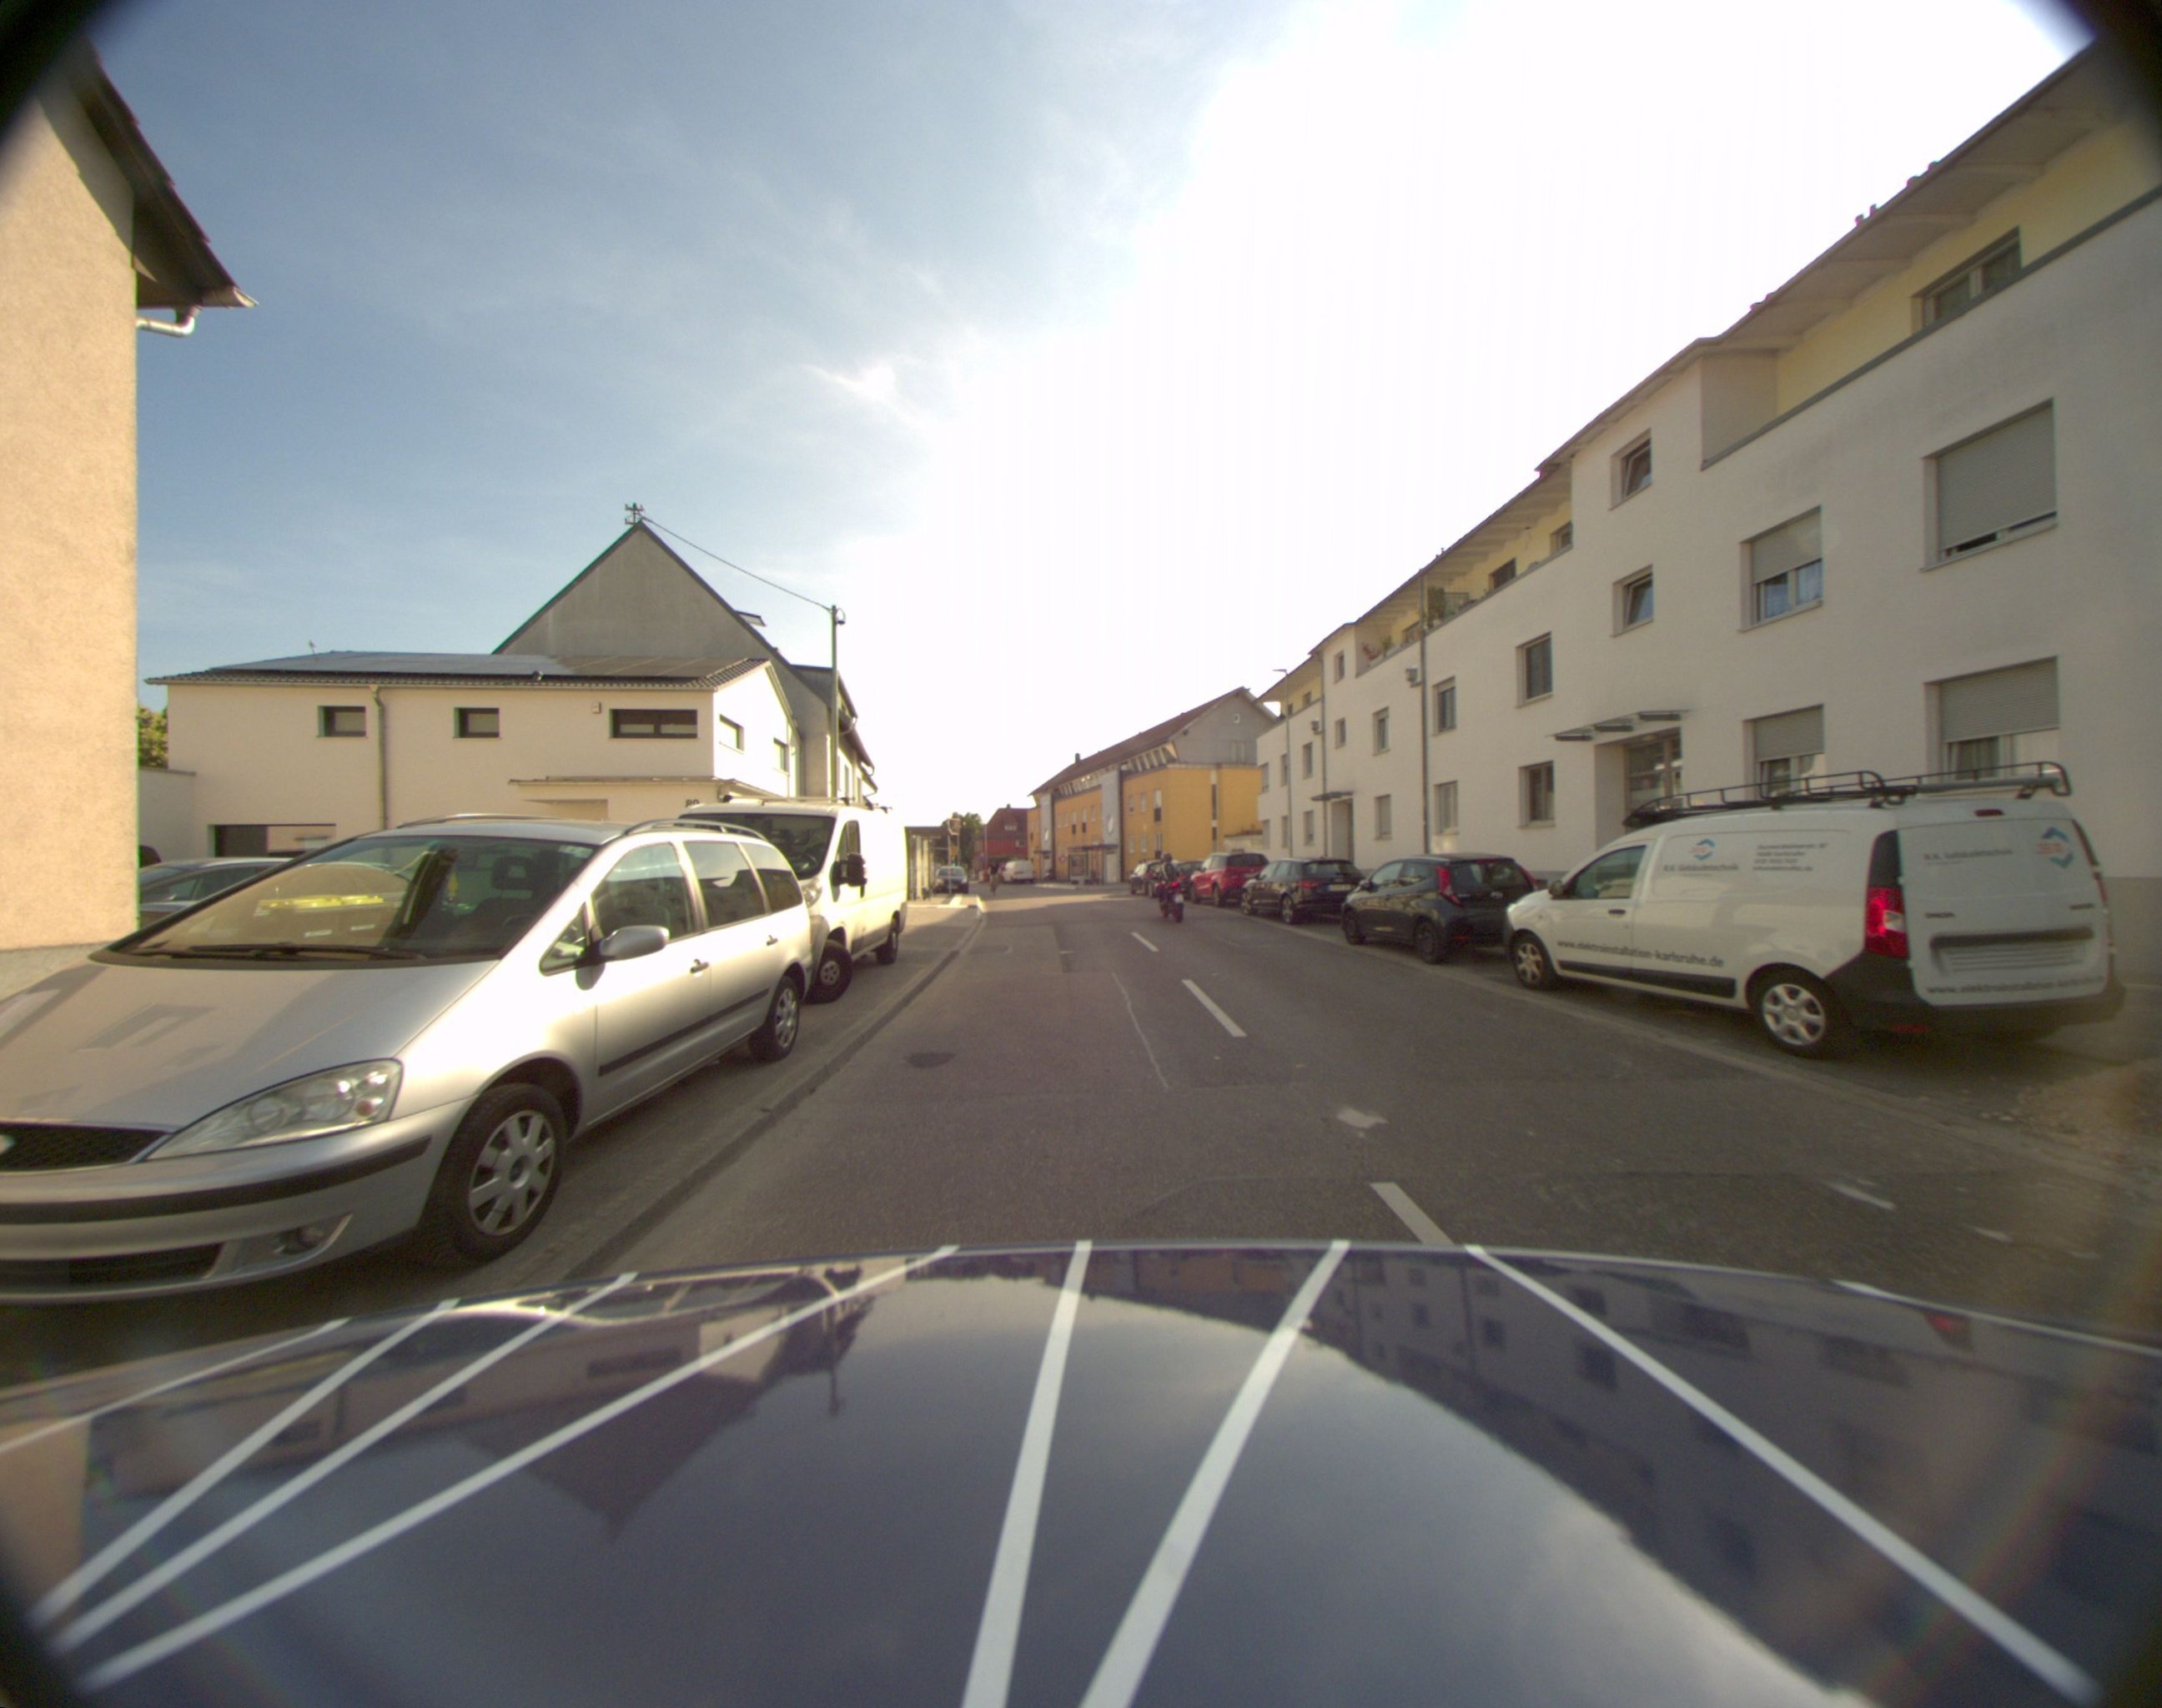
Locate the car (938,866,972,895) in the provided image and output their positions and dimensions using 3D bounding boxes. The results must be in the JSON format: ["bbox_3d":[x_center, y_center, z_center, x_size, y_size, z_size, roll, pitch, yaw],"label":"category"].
[{"bbox_3d":[-6.611,1.357,39.656,1.613,1.412,3.916,0,0,-11],"label":"car"}]

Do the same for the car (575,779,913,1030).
[{"bbox_3d":[-3.671,0.496,9.553,2.180,2.313,4.997,0,-1,-2],"label":"car"}]

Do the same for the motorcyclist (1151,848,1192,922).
[{"bbox_3d":[2.082,0.692,17.542,0.771,1.642,0.843,-2,0,-2],"label":"motorcyclist"}]

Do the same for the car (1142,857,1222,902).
[{"bbox_3d":[3.665,0.911,28.452,1.733,1.469,4.499,-3,0,-8],"label":"car"}]

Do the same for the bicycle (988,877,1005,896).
[{"bbox_3d":[-4.149,1.562,37.067,0.681,0.849,2.025,-2,0,-10],"label":"bicycle"}]

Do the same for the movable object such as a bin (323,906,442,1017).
[{"bbox_3d":[-7.411,1.120,8.086,0.730,1.087,0.553,-1,0,-2],"label":"movable object such as a bin"}]

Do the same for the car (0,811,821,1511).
[{"bbox_3d":[-3.029,0.767,4.106,1.782,1.731,4.483,0,0,-1],"label":"car"}]

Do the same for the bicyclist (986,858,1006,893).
[{"bbox_3d":[-4.163,1.032,37.139,0.846,1.679,0.877,-2,0,-10],"label":"bicyclist"}]

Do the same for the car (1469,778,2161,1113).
[{"bbox_3d":[5.631,0.563,6.801,1.732,1.949,4.437,-2,0,-5],"label":"car"}]

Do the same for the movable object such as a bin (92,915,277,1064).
[{"bbox_3d":[-7.300,1.077,6.218,0.730,1.087,0.625,-1,0,-2],"label":"movable object such as a bin"}]

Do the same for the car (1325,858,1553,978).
[{"bbox_3d":[5.110,0.820,11.380,1.497,1.456,3.512,-2,0,-4],"label":"car"}]

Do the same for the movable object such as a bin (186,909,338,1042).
[{"bbox_3d":[-7.330,1.068,6.829,0.730,1.087,0.553,-1,0,-2],"label":"movable object such as a bin"}]

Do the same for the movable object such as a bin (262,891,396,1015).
[{"bbox_3d":[-7.377,0.953,7.478,0.730,1.125,0.553,-1,0,-2],"label":"movable object such as a bin"}]

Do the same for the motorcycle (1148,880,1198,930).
[{"bbox_3d":[2.095,1.147,17.591,0.770,0.979,2.198,-2,0,-2],"label":"motorcycle"}]

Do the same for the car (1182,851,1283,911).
[{"bbox_3d":[4.513,0.763,23.344,1.732,1.612,4.261,-2,0,-7],"label":"car"}]

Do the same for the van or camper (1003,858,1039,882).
[{"bbox_3d":[-5.275,1.399,66.537,2.001,1.991,4.913,-1,0,-18],"label":"van or camper"}]

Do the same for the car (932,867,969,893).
[{"bbox_3d":[-7.683,1.478,44.566,1.722,1.389,4.329,2,-2,-15],"label":"car"}]

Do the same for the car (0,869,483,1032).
[{"bbox_3d":[-9.556,0.889,8.666,1.657,1.399,3.986,0,-1,23],"label":"car"}]

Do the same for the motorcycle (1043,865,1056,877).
[{"bbox_3d":[-3.041,1.634,72.982,0.584,1.175,1.875,-2,0,-20],"label":"motorcycle"}]

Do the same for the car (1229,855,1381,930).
[{"bbox_3d":[4.983,0.809,17.566,1.733,1.469,4.260,-2,0,-8],"label":"car"}]

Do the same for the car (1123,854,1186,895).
[{"bbox_3d":[3.203,0.904,33.958,1.781,1.612,4.175,-4,0,-8],"label":"car"}]
